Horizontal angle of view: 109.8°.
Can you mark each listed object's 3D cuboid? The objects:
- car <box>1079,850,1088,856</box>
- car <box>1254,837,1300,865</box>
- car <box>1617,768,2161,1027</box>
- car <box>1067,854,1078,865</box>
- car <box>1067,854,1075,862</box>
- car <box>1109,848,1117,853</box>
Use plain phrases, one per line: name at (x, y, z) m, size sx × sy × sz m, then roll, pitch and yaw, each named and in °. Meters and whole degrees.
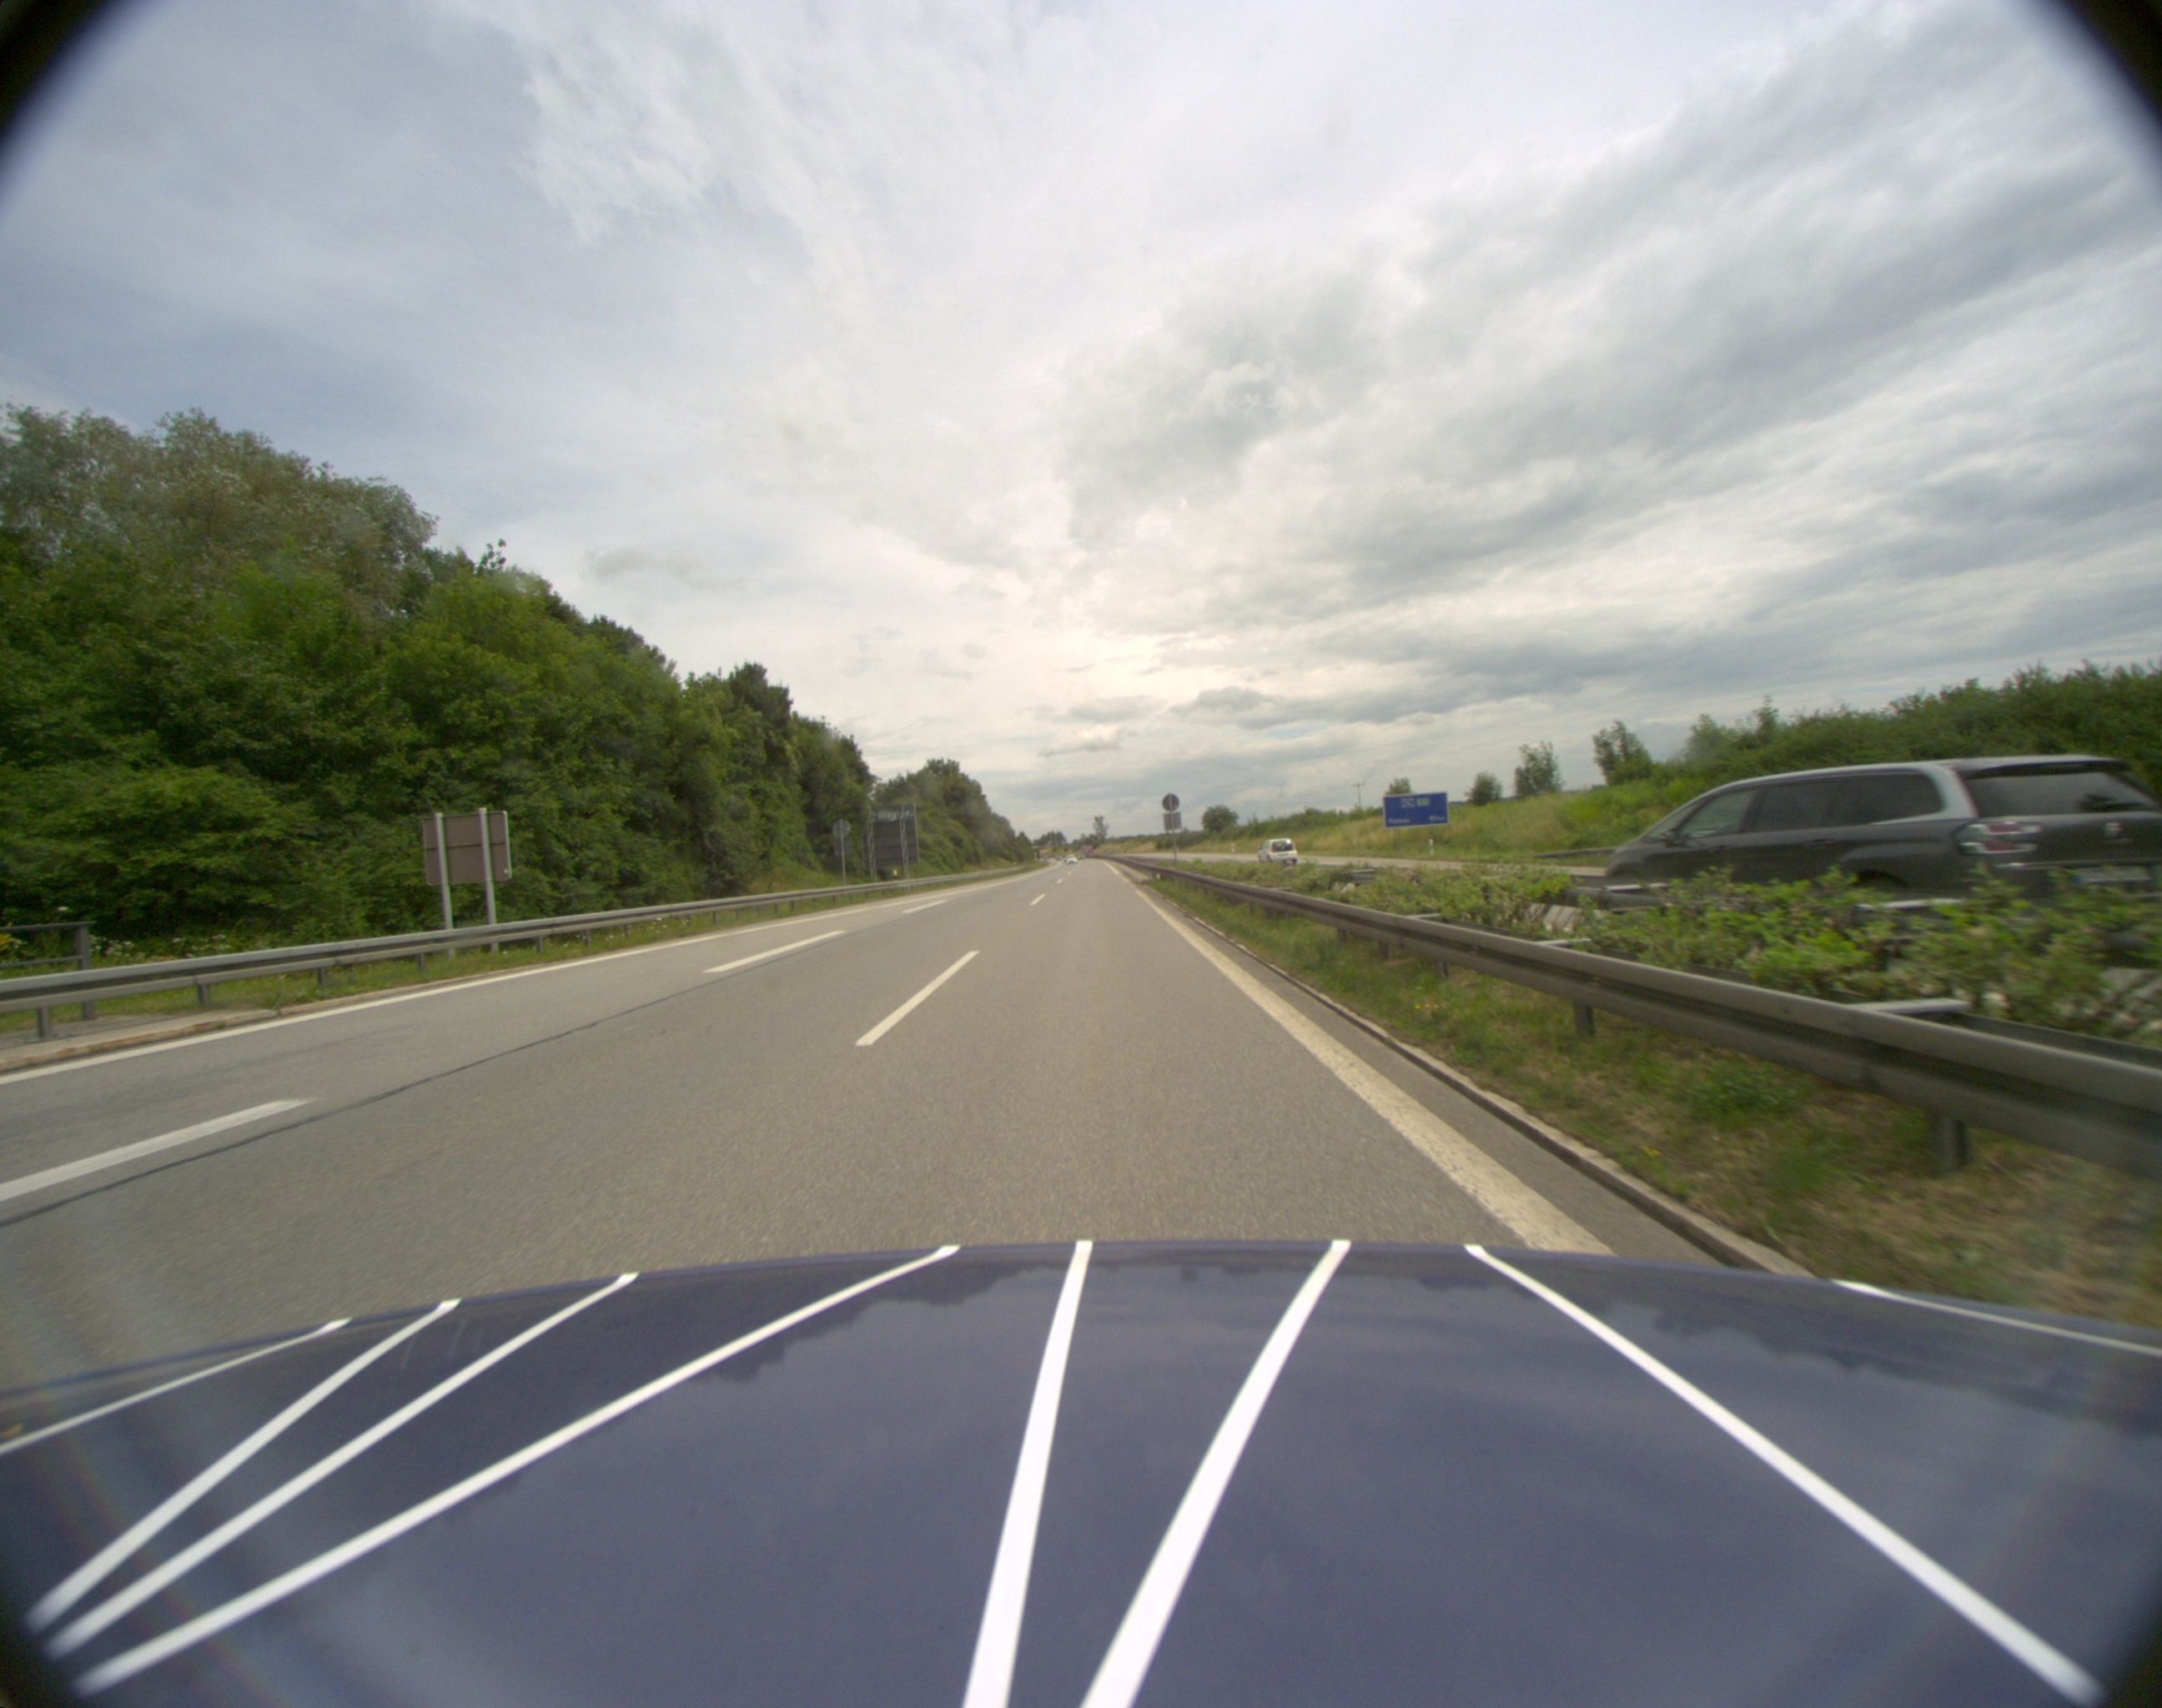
car at (0.647, -0.338, 196.521) m, size 1.775 × 1.474 × 4.695 m, roll -4°, pitch 0°, yaw -4°
car at (11.720, -0.168, 45.740) m, size 1.654 × 1.483 × 4.282 m, roll -4°, pitch 0°, yaw 1°
car at (7.307, 0.237, 7.016) m, size 1.729 × 1.641 × 4.223 m, roll -4°, pitch 0°, yaw 1°
car at (-1.466, 0.973, 132.019) m, size 1.775 × 1.813 × 4.165 m, roll -6°, pitch 0°, yaw -2°
car at (-2.308, 0.936, 177.648) m, size 1.650 × 1.686 × 4.735 m, roll -3°, pitch 0°, yaw -4°
car at (8.790, -0.944, 207.828) m, size 1.710 × 1.344 × 4.938 m, roll -6°, pitch 0°, yaw 0°
